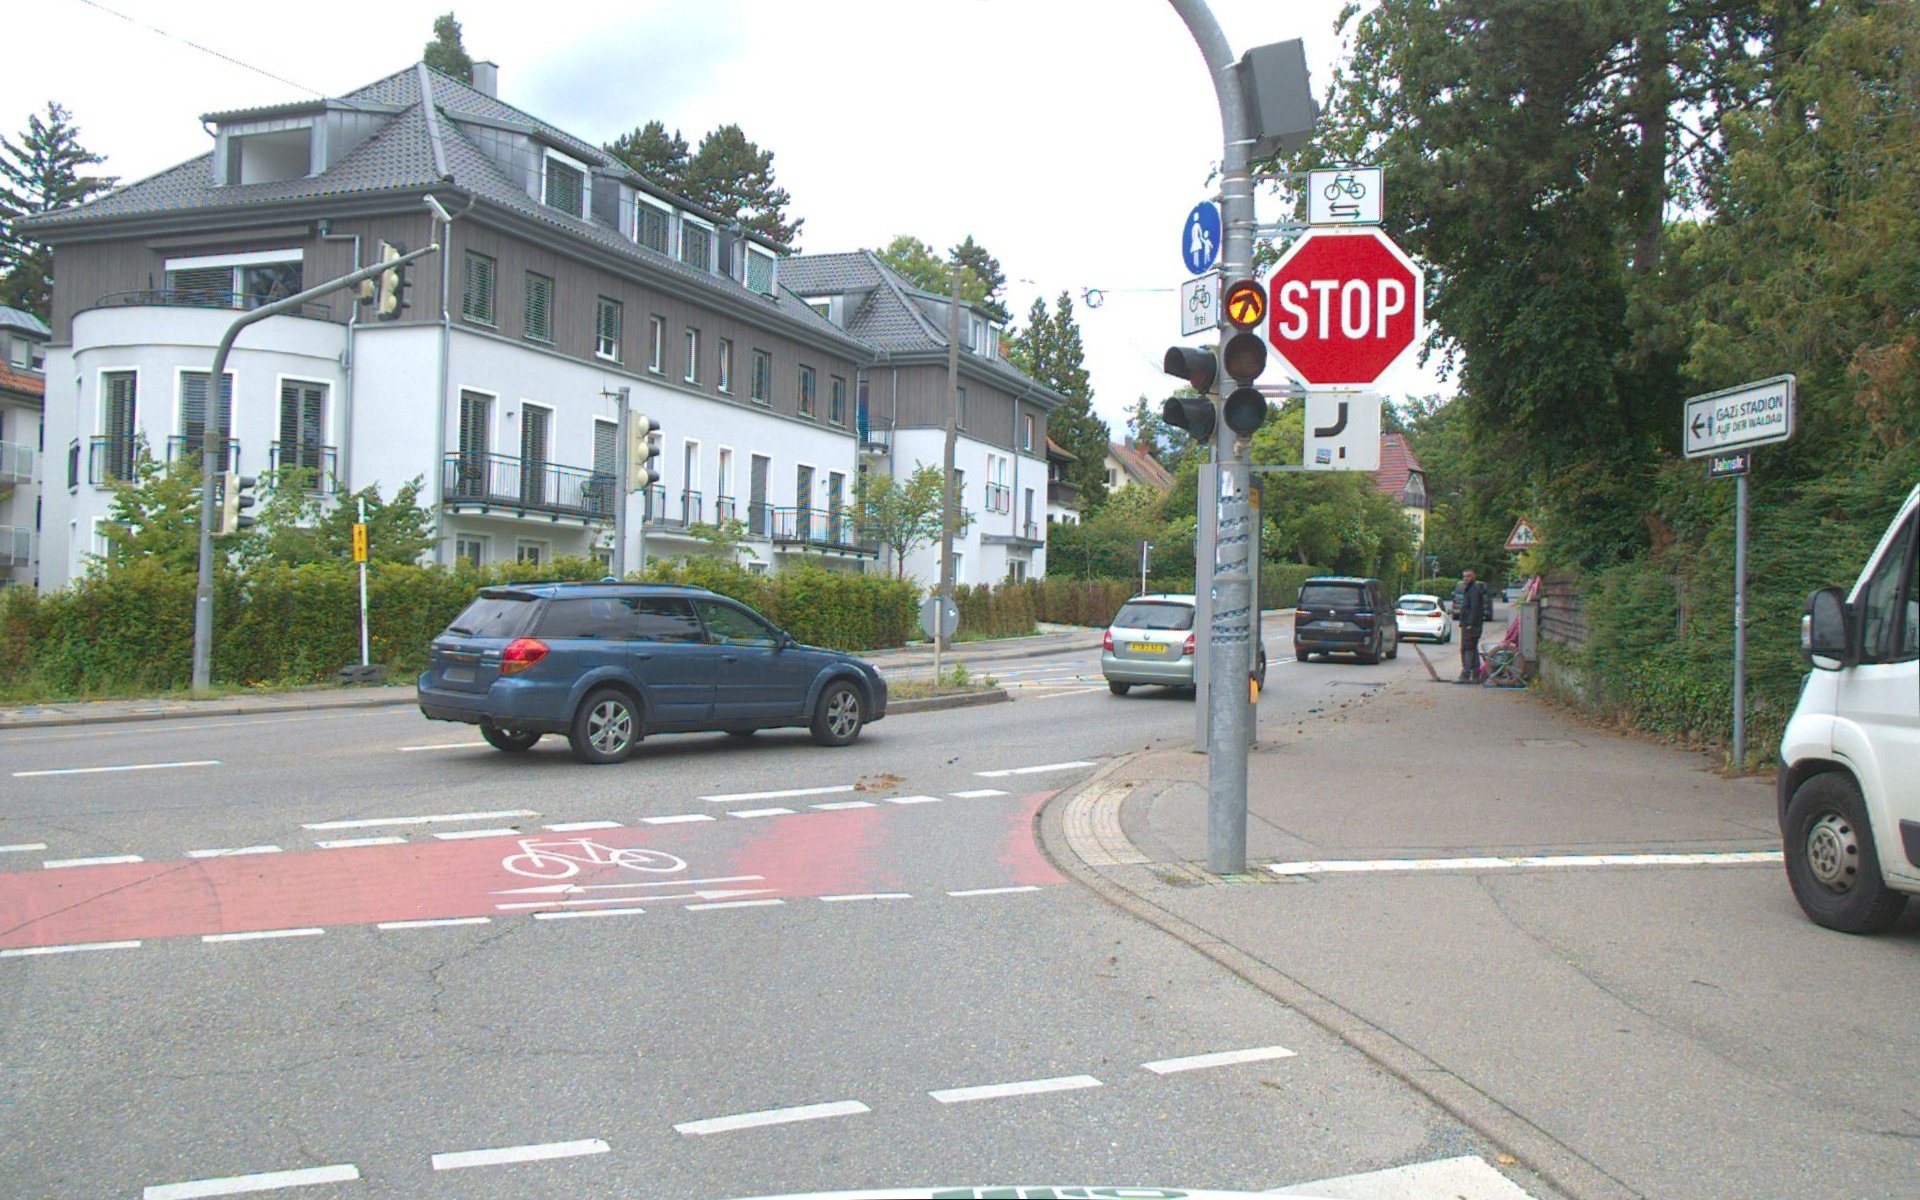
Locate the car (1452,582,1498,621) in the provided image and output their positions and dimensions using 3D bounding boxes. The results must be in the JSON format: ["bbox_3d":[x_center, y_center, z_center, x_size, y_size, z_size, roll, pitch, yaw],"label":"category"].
[{"bbox_3d":[26.199,0.070,84.079,1.899,1.857,4.078,2,1,21],"label":"car"}]

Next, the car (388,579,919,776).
[{"bbox_3d":[-2.668,0.592,15.321,1.775,1.553,4.710,-1,0,44],"label":"car"}]

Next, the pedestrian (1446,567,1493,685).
[{"bbox_3d":[8.536,0.436,27.711,0.584,1.940,0.558,1,0,0],"label":"pedestrian"}]

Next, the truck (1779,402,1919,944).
[{"bbox_3d":[5.102,0.323,5.316,2.162,2.283,5.723,1,0,1],"label":"truck"}]

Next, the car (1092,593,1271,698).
[{"bbox_3d":[3.420,0.630,25.011,1.660,1.455,3.746,-1,0,25],"label":"car"}]

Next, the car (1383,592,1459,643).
[{"bbox_3d":[14.596,0.513,52.240,1.804,1.485,4.077,2,1,22],"label":"car"}]

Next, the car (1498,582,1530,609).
[{"bbox_3d":[39.561,-0.318,118.036,1.899,1.857,4.078,2,1,21],"label":"car"}]

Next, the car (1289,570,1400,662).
[{"bbox_3d":[9.081,0.331,38.738,1.879,1.927,4.909,2,1,20],"label":"car"}]
